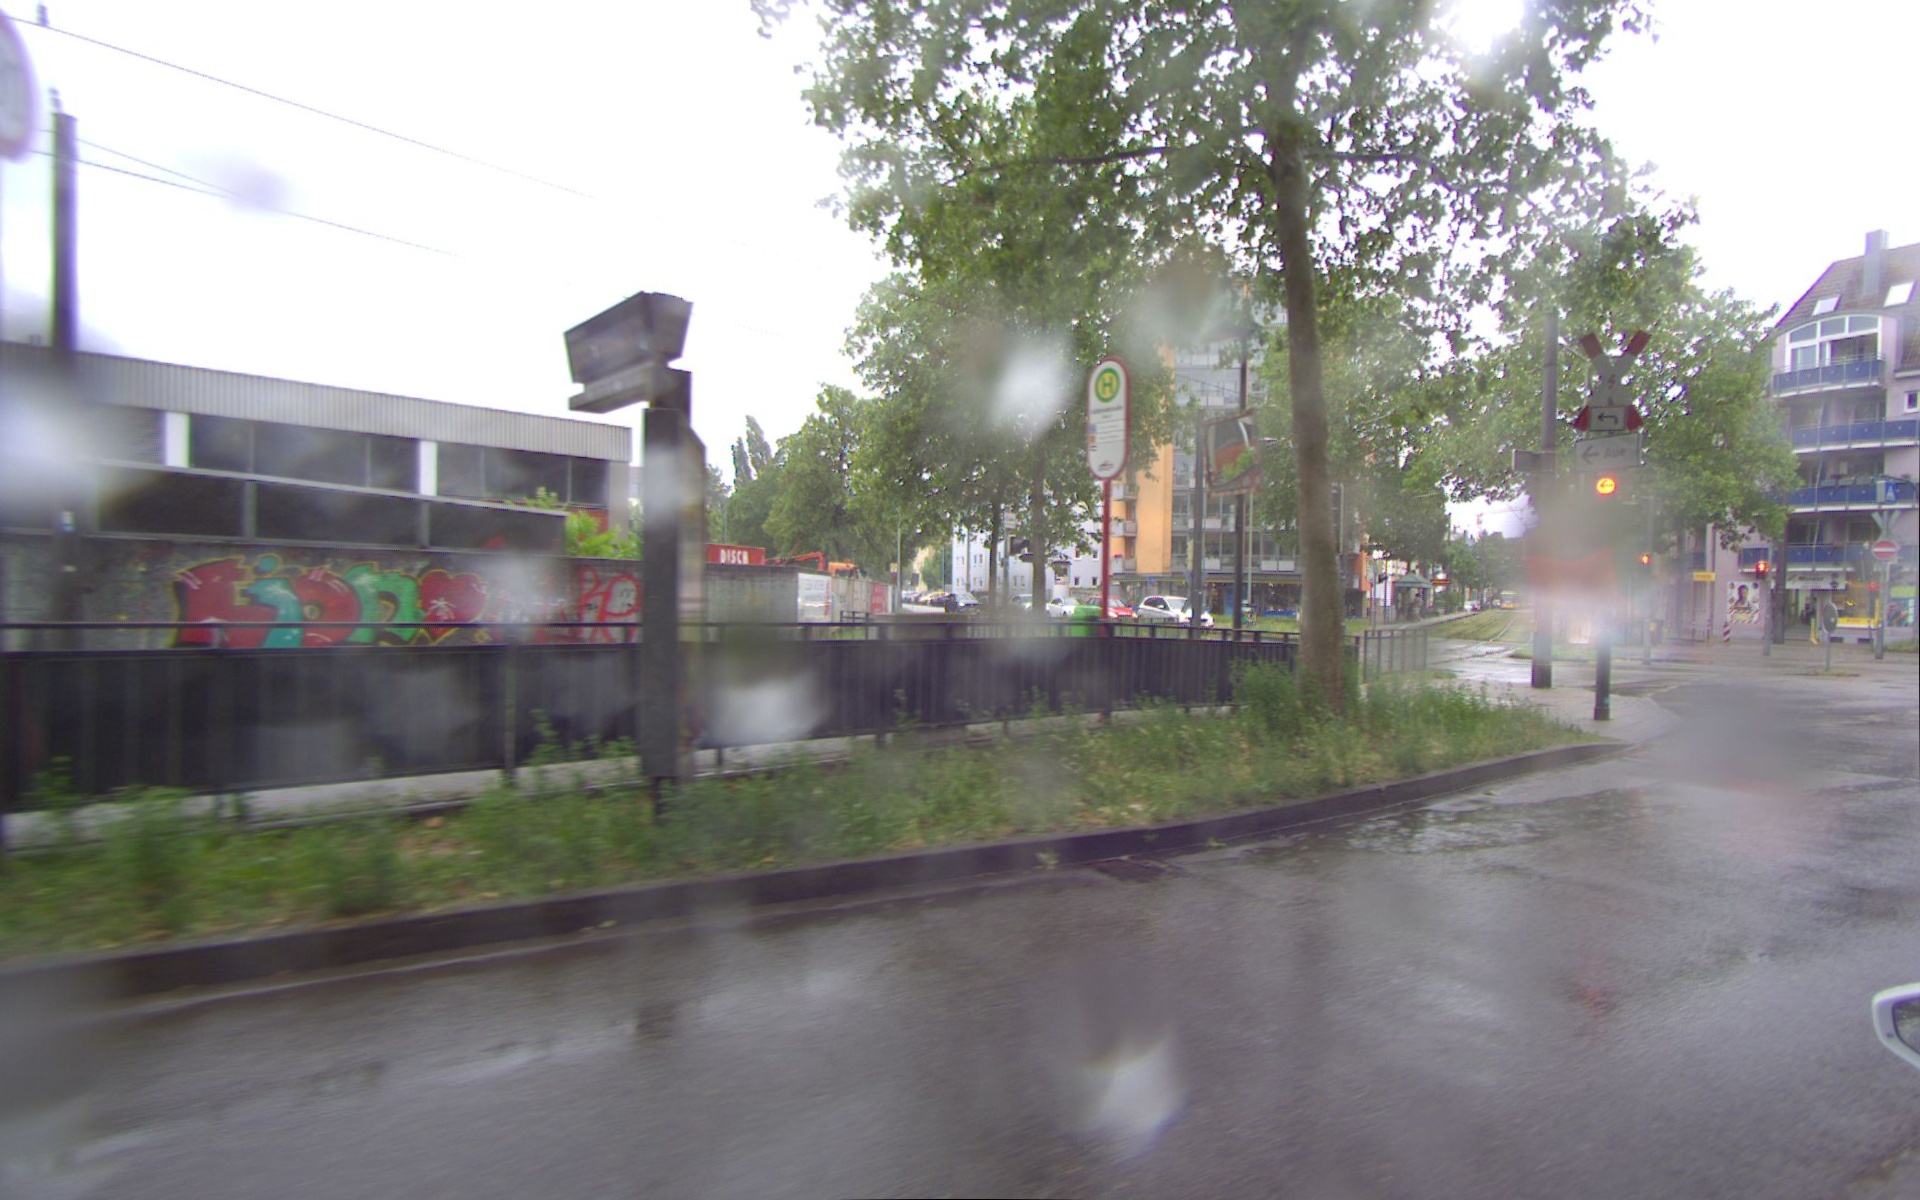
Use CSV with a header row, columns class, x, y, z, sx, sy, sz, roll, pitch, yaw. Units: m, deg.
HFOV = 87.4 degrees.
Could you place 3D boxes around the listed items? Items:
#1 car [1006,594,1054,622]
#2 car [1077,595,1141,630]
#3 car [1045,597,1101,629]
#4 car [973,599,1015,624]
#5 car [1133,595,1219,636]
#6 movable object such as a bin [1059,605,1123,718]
class,x,y,z,sx,sy,sz,roll,pitch,yaw
car,4.199,0.515,60.979,1.697,1.661,3.780,0,-1,-17
car,7.237,0.620,49.111,1.697,1.661,3.780,0,-1,-17
car,6.146,0.721,54.801,1.697,1.661,3.780,0,-1,-17
car,2.223,0.776,67.100,1.697,1.661,3.780,0,-1,-17
car,9.161,0.648,42.964,1.941,1.673,4.005,0,-1,-17
movable object such as a bin,1.320,0.601,10.087,0.412,1.104,0.528,0,-1,44
